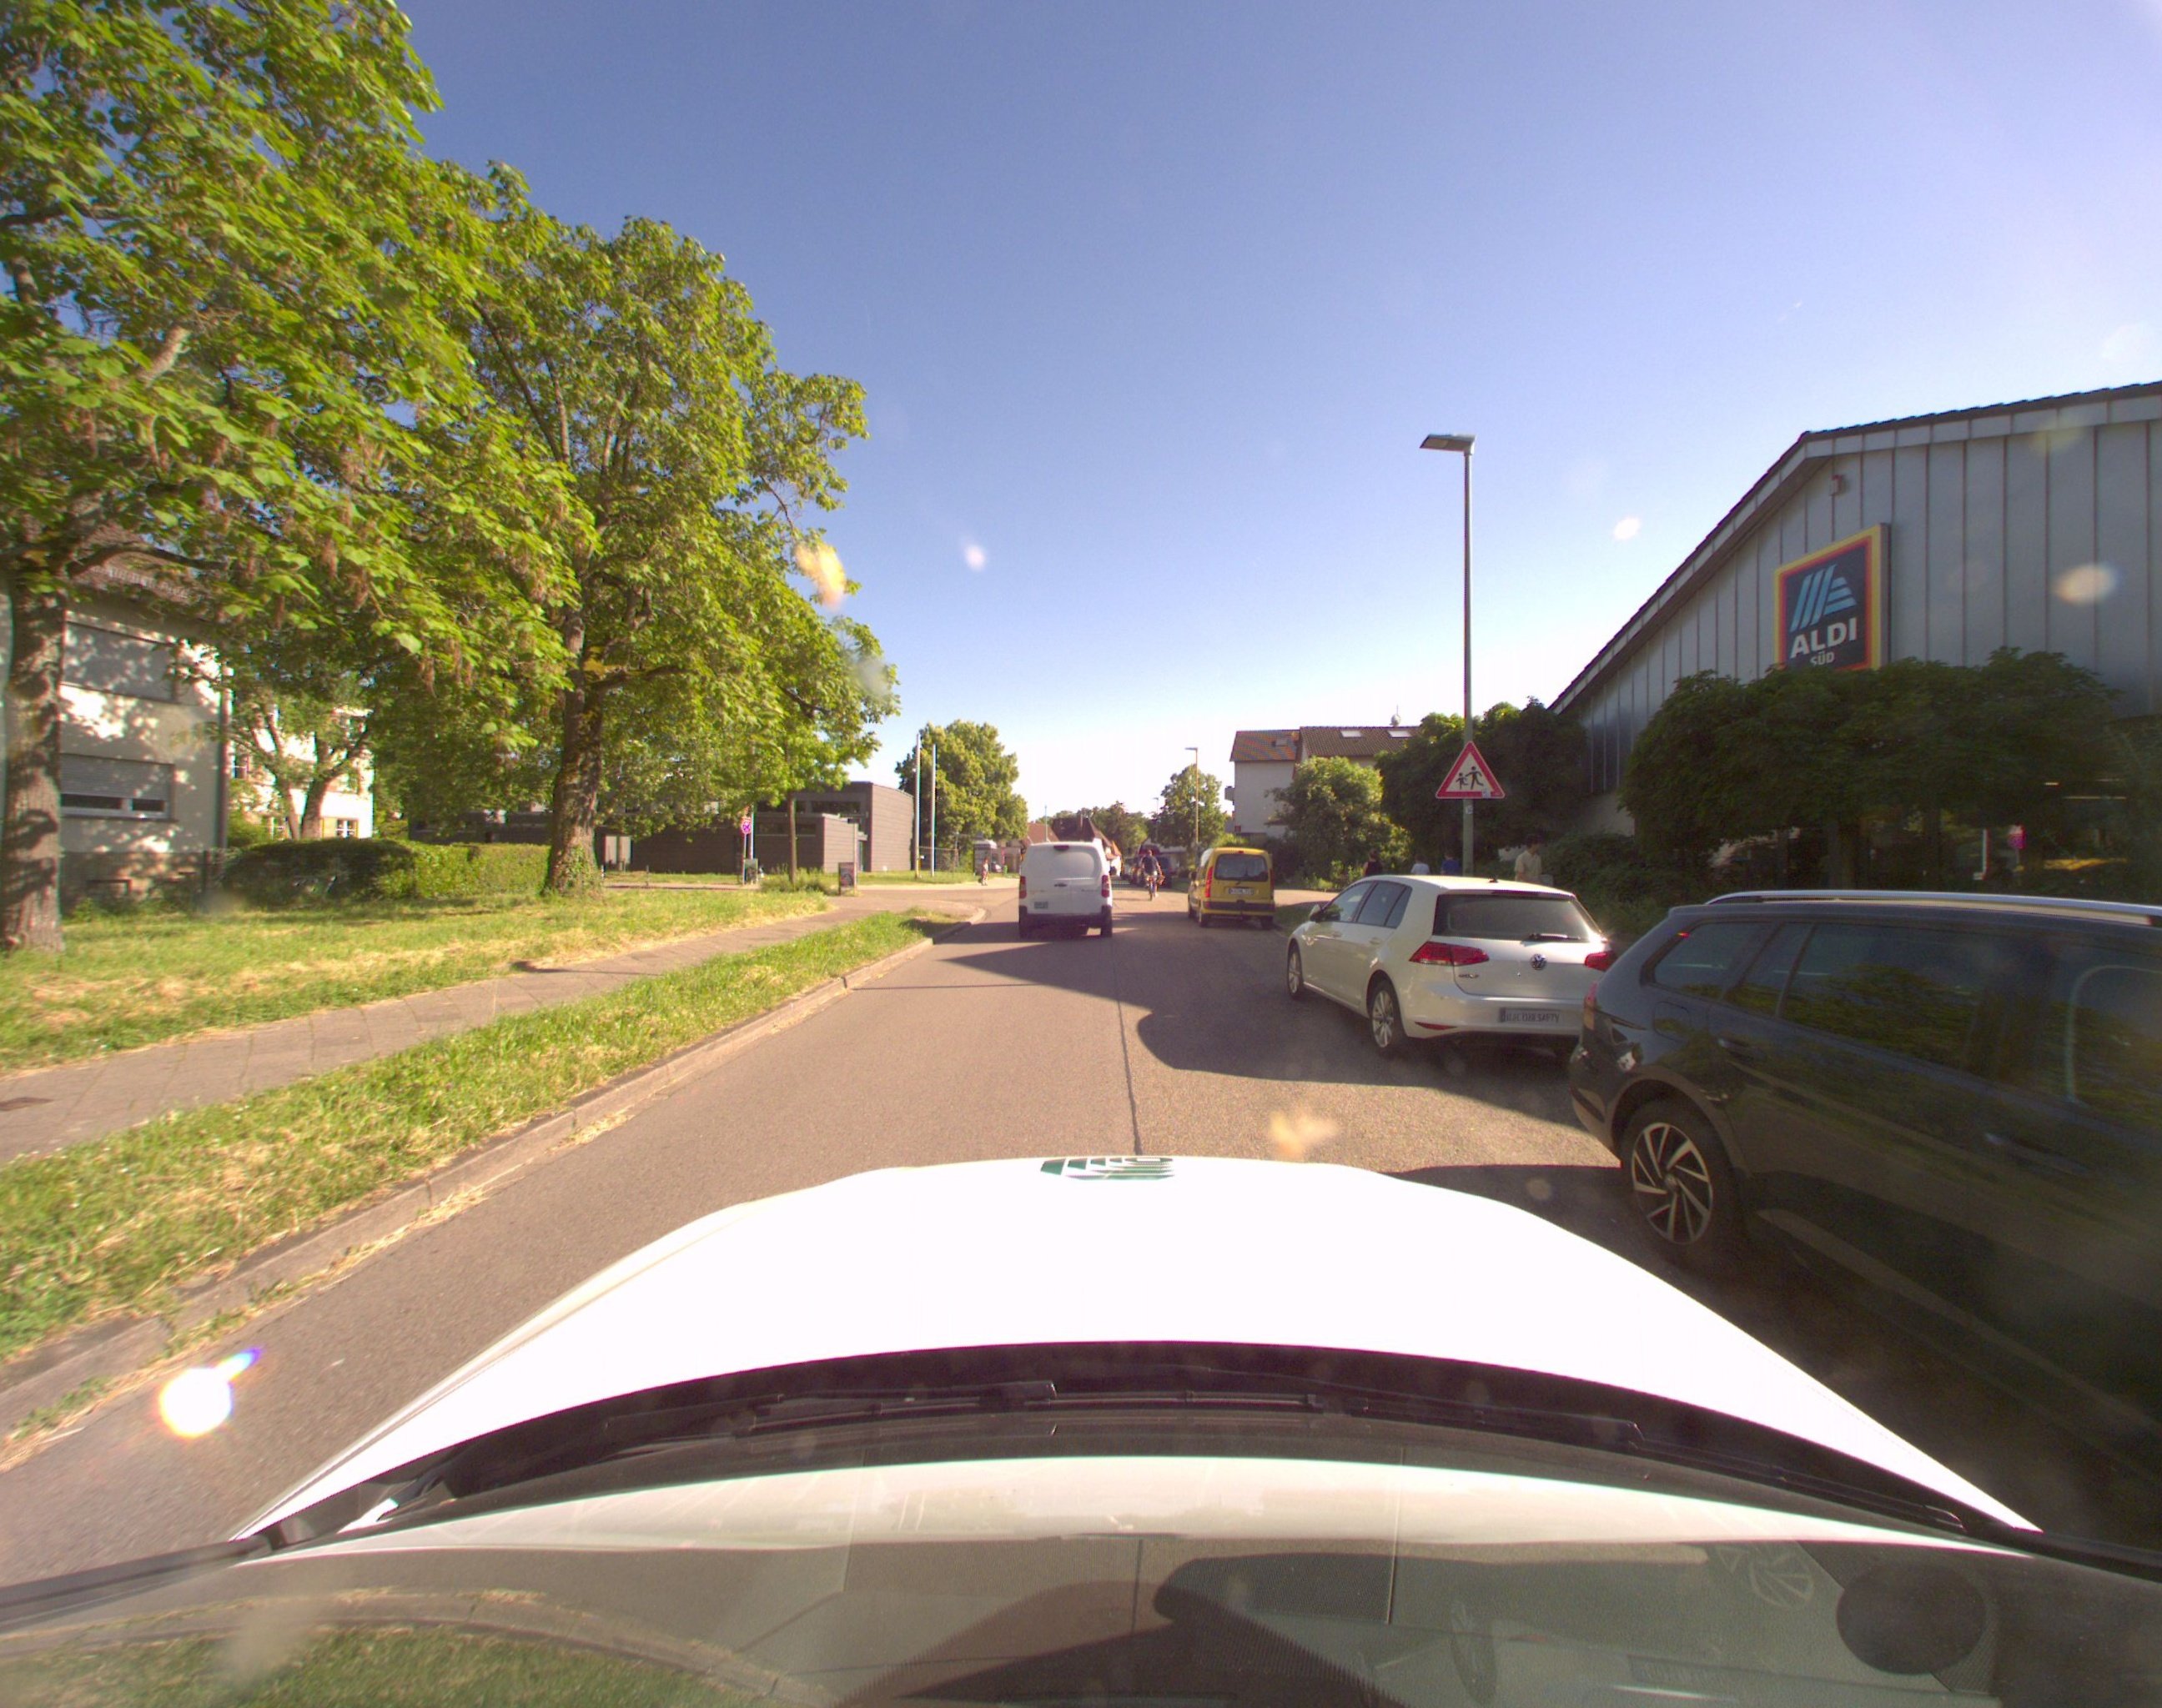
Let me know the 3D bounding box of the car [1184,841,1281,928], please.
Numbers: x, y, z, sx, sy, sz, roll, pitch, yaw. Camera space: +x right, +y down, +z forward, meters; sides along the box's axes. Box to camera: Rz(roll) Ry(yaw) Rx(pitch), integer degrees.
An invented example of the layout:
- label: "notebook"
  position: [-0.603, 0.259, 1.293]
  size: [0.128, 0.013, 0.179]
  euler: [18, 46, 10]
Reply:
- label: "car"
  position: [3.518, 0.675, 19.522]
  size: [1.717, 1.837, 4.002]
  euler: [1, -1, 2]

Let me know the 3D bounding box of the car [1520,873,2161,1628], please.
- label: "car"
  position: [3.073, 0.833, 1.946]
  size: [1.800, 1.443, 4.365]
  euler: [1, 0, 2]

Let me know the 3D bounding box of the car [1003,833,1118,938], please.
- label: "car"
  position: [-0.281, 0.576, 16.933]
  size: [1.985, 1.882, 4.293]
  euler: [1, 0, 3]

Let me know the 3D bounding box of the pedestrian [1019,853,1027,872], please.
- label: "pedestrian"
  position: [-5.415, 0.780, 75.990]
  size: [0.619, 1.805, 0.640]
  euler: [1, -2, 0]

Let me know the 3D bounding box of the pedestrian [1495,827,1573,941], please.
- label: "pedestrian"
  position: [7.645, 0.494, 13.777]
  size: [0.793, 1.861, 0.872]
  euler: [1, -1, -6]

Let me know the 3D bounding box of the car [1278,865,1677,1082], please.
- label: "car"
  position: [3.245, 0.860, 7.665]
  size: [1.820, 1.452, 3.999]
  euler: [1, 0, 0]

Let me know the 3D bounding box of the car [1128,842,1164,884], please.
- label: "car"
  position: [4.173, 0.613, 53.207]
  size: [1.860, 2.562, 4.766]
  euler: [3, -1, 0]

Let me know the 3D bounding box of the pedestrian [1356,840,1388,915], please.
- label: "pedestrian"
  position: [6.483, 0.519, 18.152]
  size: [0.564, 1.637, 0.547]
  euler: [0, 0, 6]

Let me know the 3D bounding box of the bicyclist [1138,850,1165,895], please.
- label: "bicyclist"
  position: [2.507, 0.662, 29.041]
  size: [0.902, 1.584, 0.967]
  euler: [1, -1, 2]

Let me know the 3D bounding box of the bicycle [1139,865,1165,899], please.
- label: "bicycle"
  position: [2.518, 0.977, 29.077]
  size: [0.784, 1.138, 2.281]
  euler: [2, 0, 2]

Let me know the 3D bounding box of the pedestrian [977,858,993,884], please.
- label: "pedestrian"
  position: [-5.466, 0.985, 46.386]
  size: [0.505, 1.446, 0.643]
  euler: [3, 0, 34]

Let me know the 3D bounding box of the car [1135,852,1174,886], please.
- label: "car"
  position: [4.112, 0.838, 46.095]
  size: [1.798, 1.785, 3.999]
  euler: [3, -1, 0]

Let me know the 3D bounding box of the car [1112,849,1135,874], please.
- label: "car"
  position: [3.759, 0.672, 72.446]
  size: [1.798, 2.069, 3.999]
  euler: [3, -1, 0]

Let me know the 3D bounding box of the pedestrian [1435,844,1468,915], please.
- label: "pedestrian"
  position: [8.661, 0.586, 19.063]
  size: [0.564, 1.637, 0.547]
  euler: [0, 0, 6]

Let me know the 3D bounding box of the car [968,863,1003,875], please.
- label: "car"
  position: [-12.005, 1.821, 102.403]
  size: [3.945, 1.429, 1.724]
  euler: [1, -1, 19]

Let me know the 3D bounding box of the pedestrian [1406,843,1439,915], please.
- label: "pedestrian"
  position: [7.995, 0.575, 19.077]
  size: [0.564, 1.637, 0.547]
  euler: [0, 0, 6]

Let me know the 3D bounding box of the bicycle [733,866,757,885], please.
- label: "bicycle"
  position: [-16.358, 1.038, 39.657]
  size: [1.025, 0.887, 0.434]
  euler: [-1, 1, -43]
